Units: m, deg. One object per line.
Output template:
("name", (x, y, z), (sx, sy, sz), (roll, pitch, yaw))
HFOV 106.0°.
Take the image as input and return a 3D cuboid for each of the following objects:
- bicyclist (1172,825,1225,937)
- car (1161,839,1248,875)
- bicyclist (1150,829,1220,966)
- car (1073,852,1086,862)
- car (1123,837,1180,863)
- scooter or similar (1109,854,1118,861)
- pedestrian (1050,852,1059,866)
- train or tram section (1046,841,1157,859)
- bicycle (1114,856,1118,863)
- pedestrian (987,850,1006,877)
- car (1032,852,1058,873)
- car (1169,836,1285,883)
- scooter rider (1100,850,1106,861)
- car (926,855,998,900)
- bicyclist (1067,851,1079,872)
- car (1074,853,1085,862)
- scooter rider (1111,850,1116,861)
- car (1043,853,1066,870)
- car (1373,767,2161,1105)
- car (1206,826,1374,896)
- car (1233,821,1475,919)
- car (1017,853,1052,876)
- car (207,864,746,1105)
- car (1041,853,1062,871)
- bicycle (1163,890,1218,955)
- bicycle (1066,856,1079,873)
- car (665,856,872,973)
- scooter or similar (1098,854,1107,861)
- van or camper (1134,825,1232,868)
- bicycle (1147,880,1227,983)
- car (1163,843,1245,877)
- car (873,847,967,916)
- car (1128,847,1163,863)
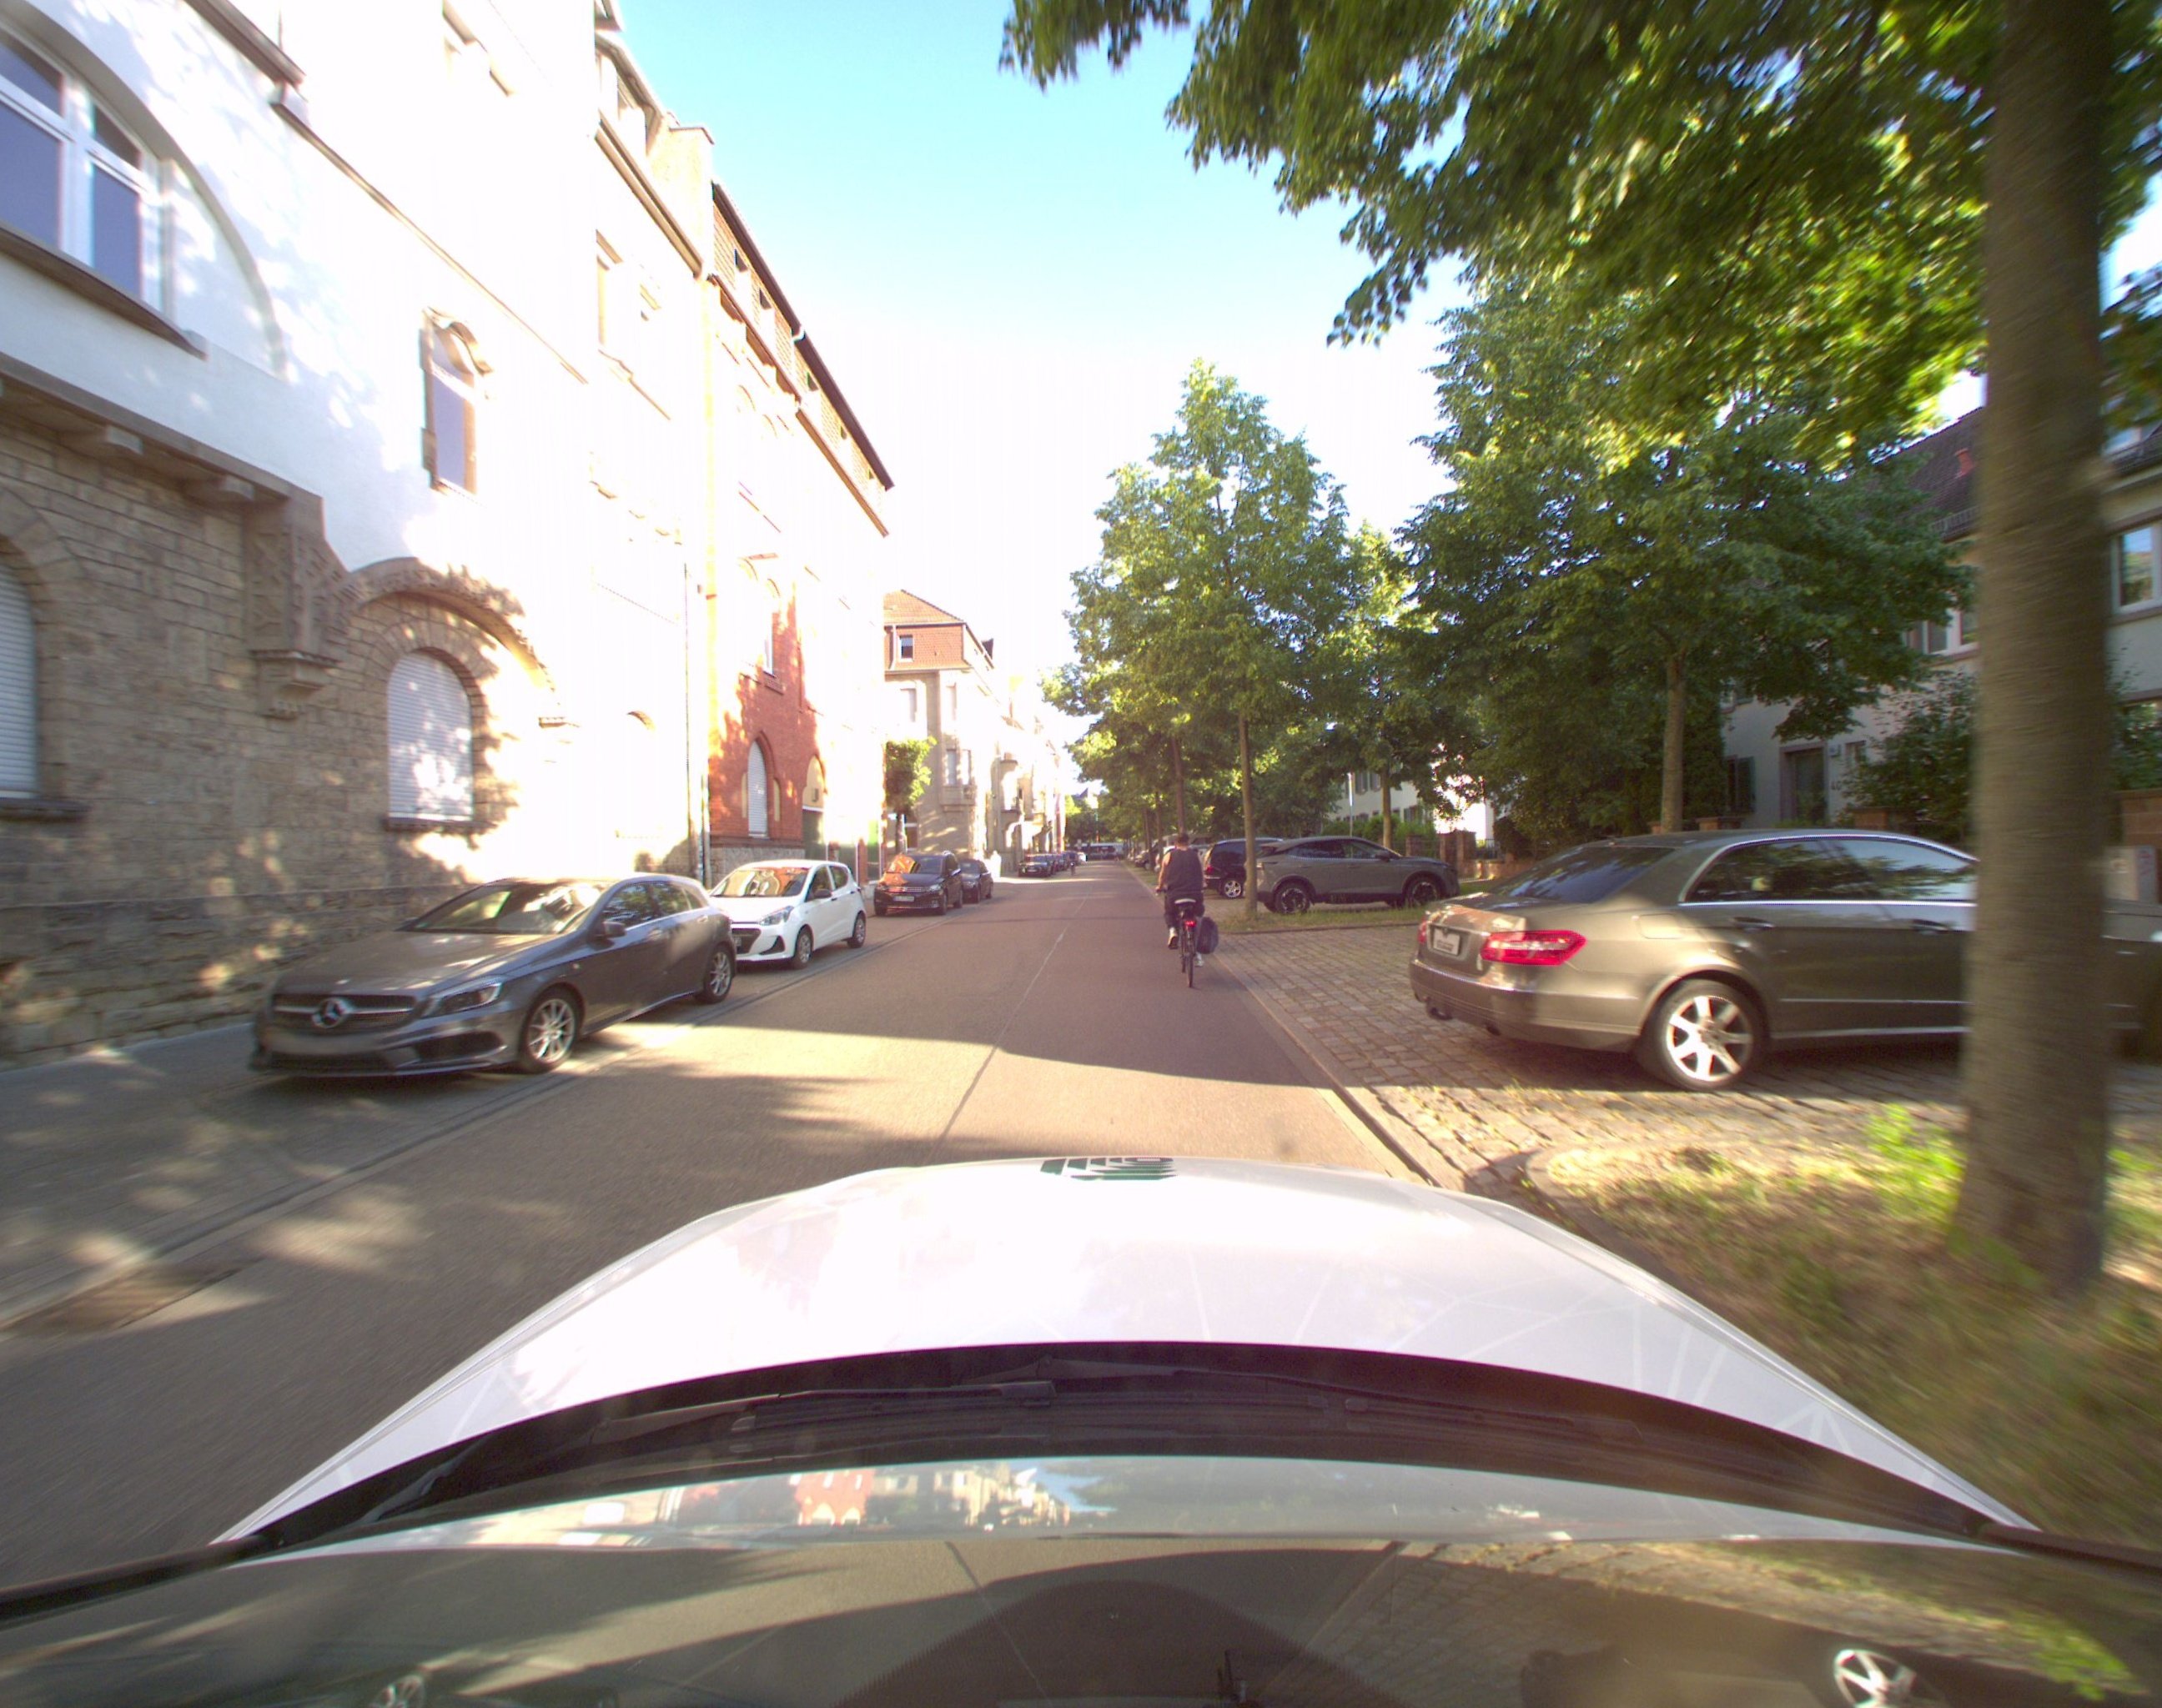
("bicyclist", (1.762, 0.399, 12.362), (0.686, 1.626, 0.999), (-1, 0, 2))
("car", (6.889, 0.152, 45.745), (4.600, 1.709, 1.835), (-3, 0, 3))
("bicyclist", (1.216, 0.495, 9.696), (0.727, 1.548, 0.884), (0, -1, 1))
("car", (-0.187, 0.408, 113.264), (1.577, 1.343, 4.134), (1, 1, 3))
("car", (9.250, -0.475, 106.927), (7.126, 2.978, 2.463), (-3, 0, -1))
("scooter or similar", (5.529, 0.573, 138.663), (1.595, 1.147, 0.677), (0, -1, -4))
("pedestrian", (-3.280, 0.610, 100.770), (0.934, 1.742, 0.735), (0, -1, 3))
("train or tram section", (4.572, -0.741, 173.071), (23.888, 3.708, 4.256), (0, -1, -21))
("bicycle", (5.136, 0.762, 118.822), (0.496, 1.005, 1.475), (-1, 1, 2))
("pedestrian", (-5.105, 0.544, 49.149), (0.884, 1.577, 1.054), (-3, 1, 2))
("car", (-2.625, 0.630, 60.074), (1.690, 1.453, 4.028), (-1, -1, 1))
("car", (6.284, 0.228, 35.353), (4.530, 1.633, 1.810), (-5, 0, -4))
("scooter rider", (3.845, 0.218, 141.974), (0.869, 1.841, 0.670), (0, -1, -3))
("car", (-3.959, 0.750, 27.769), (1.629, 1.411, 4.335), (1, 0, 2))
("bicyclist", (-0.561, 0.515, 55.664), (0.757, 1.454, 0.949), (-2, -1, 2))
("car", (-0.273, 0.483, 130.637), (1.577, 1.375, 4.134), (1, 1, 3))
("scooter rider", (5.544, 0.228, 138.674), (0.869, 1.841, 0.670), (0, -1, -3))
("car", (-2.348, 0.639, 73.003), (1.669, 1.430, 4.553), (1, 1, 3))
("car", (4.719, 0.395, 5.394), (4.822, 1.539, 1.894), (-5, 0, -1))
("car", (6.199, 0.204, 24.619), (4.561, 1.677, 1.909), (-5, 0, 3))
("car", (5.694, 0.327, 17.409), (4.460, 1.633, 1.875), (-5, 0, 0))
("car", (-3.009, 0.661, 53.709), (1.804, 1.427, 4.900), (1, 0, 2))
("car", (-4.703, 0.860, 7.252), (1.671, 1.442, 4.112), (0, 0, 1))
("car", (-2.418, 0.631, 67.508), (1.624, 1.453, 3.837), (0, 0, 0))
("bicycle", (1.643, 1.005, 12.420), (0.631, 0.799, 1.833), (-2, 0, 2))
("bicycle", (-0.549, 0.719, 55.616), (0.755, 1.107, 1.908), (-2, -1, 2))
("car", (-4.542, 0.795, 12.410), (1.559, 1.470, 3.595), (0, 0, 4))
("scooter or similar", (3.747, 0.566, 141.964), (1.595, 1.147, 0.677), (0, -1, -4))
("van or camper", (7.742, -0.533, 62.194), (7.116, 2.647, 2.467), (-5, 0, 3))
("bicycle", (1.211, 0.863, 9.691), (0.735, 1.054, 1.956), (0, -1, 1))
("car", (6.464, 0.303, 43.105), (4.051, 1.476, 1.695), (-5, 1, 2))
("car", (-4.279, 0.686, 22.236), (1.664, 1.681, 4.350), (0, 0, 0))
("car", (7.850, 0.145, 99.854), (4.070, 1.650, 1.641), (-4, 0, 0))
